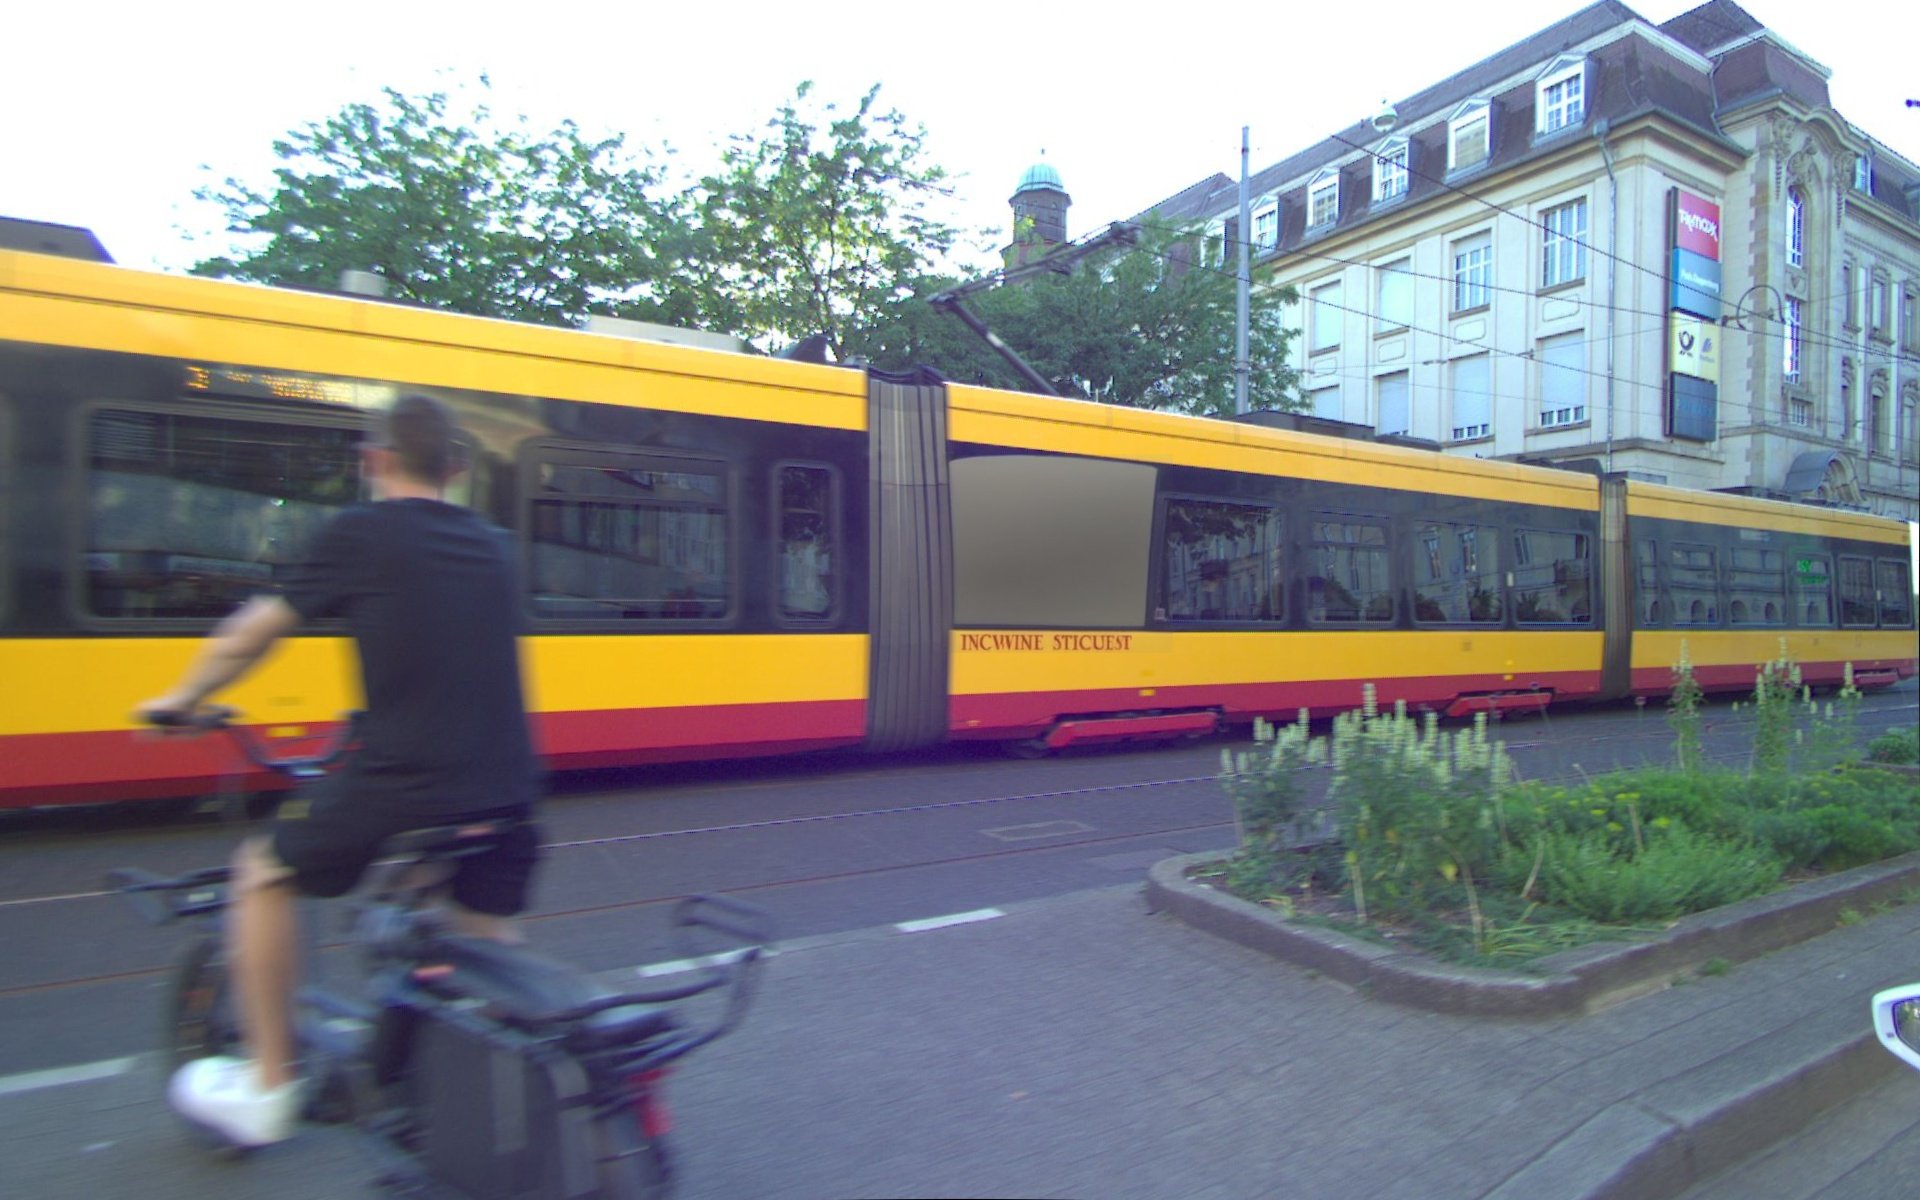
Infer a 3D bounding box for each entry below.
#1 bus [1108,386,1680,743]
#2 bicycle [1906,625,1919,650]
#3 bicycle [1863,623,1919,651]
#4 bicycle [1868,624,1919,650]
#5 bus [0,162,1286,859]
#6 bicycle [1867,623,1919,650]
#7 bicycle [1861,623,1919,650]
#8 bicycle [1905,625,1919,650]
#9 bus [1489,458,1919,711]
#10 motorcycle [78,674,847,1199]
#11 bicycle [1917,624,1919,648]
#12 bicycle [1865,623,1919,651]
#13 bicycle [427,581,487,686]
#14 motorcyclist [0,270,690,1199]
[{"bbox_3d":[6.129,-0.293,13.623,8.190,3.673,2.809,1,-1,-30],"label":"bus"},{"bbox_3d":[37.948,1.468,39.110,0.356,0.961,1.569,2,-1,-41],"label":"bicycle"},{"bbox_3d":[34.430,1.361,37.100,0.356,0.961,1.569,3,-2,-41],"label":"bicycle"},{"bbox_3d":[35.382,1.396,37.948,0.356,0.961,1.569,3,-2,-41],"label":"bicycle"},{"bbox_3d":[-4.682,-0.454,7.197,16.869,3.700,2.809,1,0,-30],"label":"bus"},{"bbox_3d":[35.083,1.382,37.667,0.356,0.961,1.569,3,-2,-41],"label":"bicycle"},{"bbox_3d":[34.126,1.337,36.841,0.356,0.961,1.569,2,-1,-41],"label":"bicycle"},{"bbox_3d":[37.627,1.458,38.804,0.356,0.961,1.569,3,-2,-41],"label":"bicycle"},{"bbox_3d":[14.704,-0.099,18.686,11.682,3.660,2.809,1,-1,-30],"label":"bus"},{"bbox_3d":[-1.218,0.794,2.210,2.016,1.138,0.566,1,-1,34],"label":"motorcycle"},{"bbox_3d":[39.304,1.462,40.099,0.356,0.961,1.569,3,-2,-41],"label":"bicycle"},{"bbox_3d":[34.772,1.374,37.395,0.356,0.961,1.569,3,-2,-41],"label":"bicycle"},{"bbox_3d":[-6.674,0.426,13.282,0.573,1.271,2.231,2,-1,-29],"label":"bicycle"},{"bbox_3d":[-1.328,0.423,2.201,0.988,1.837,0.957,1,-1,34],"label":"motorcyclist"}]
